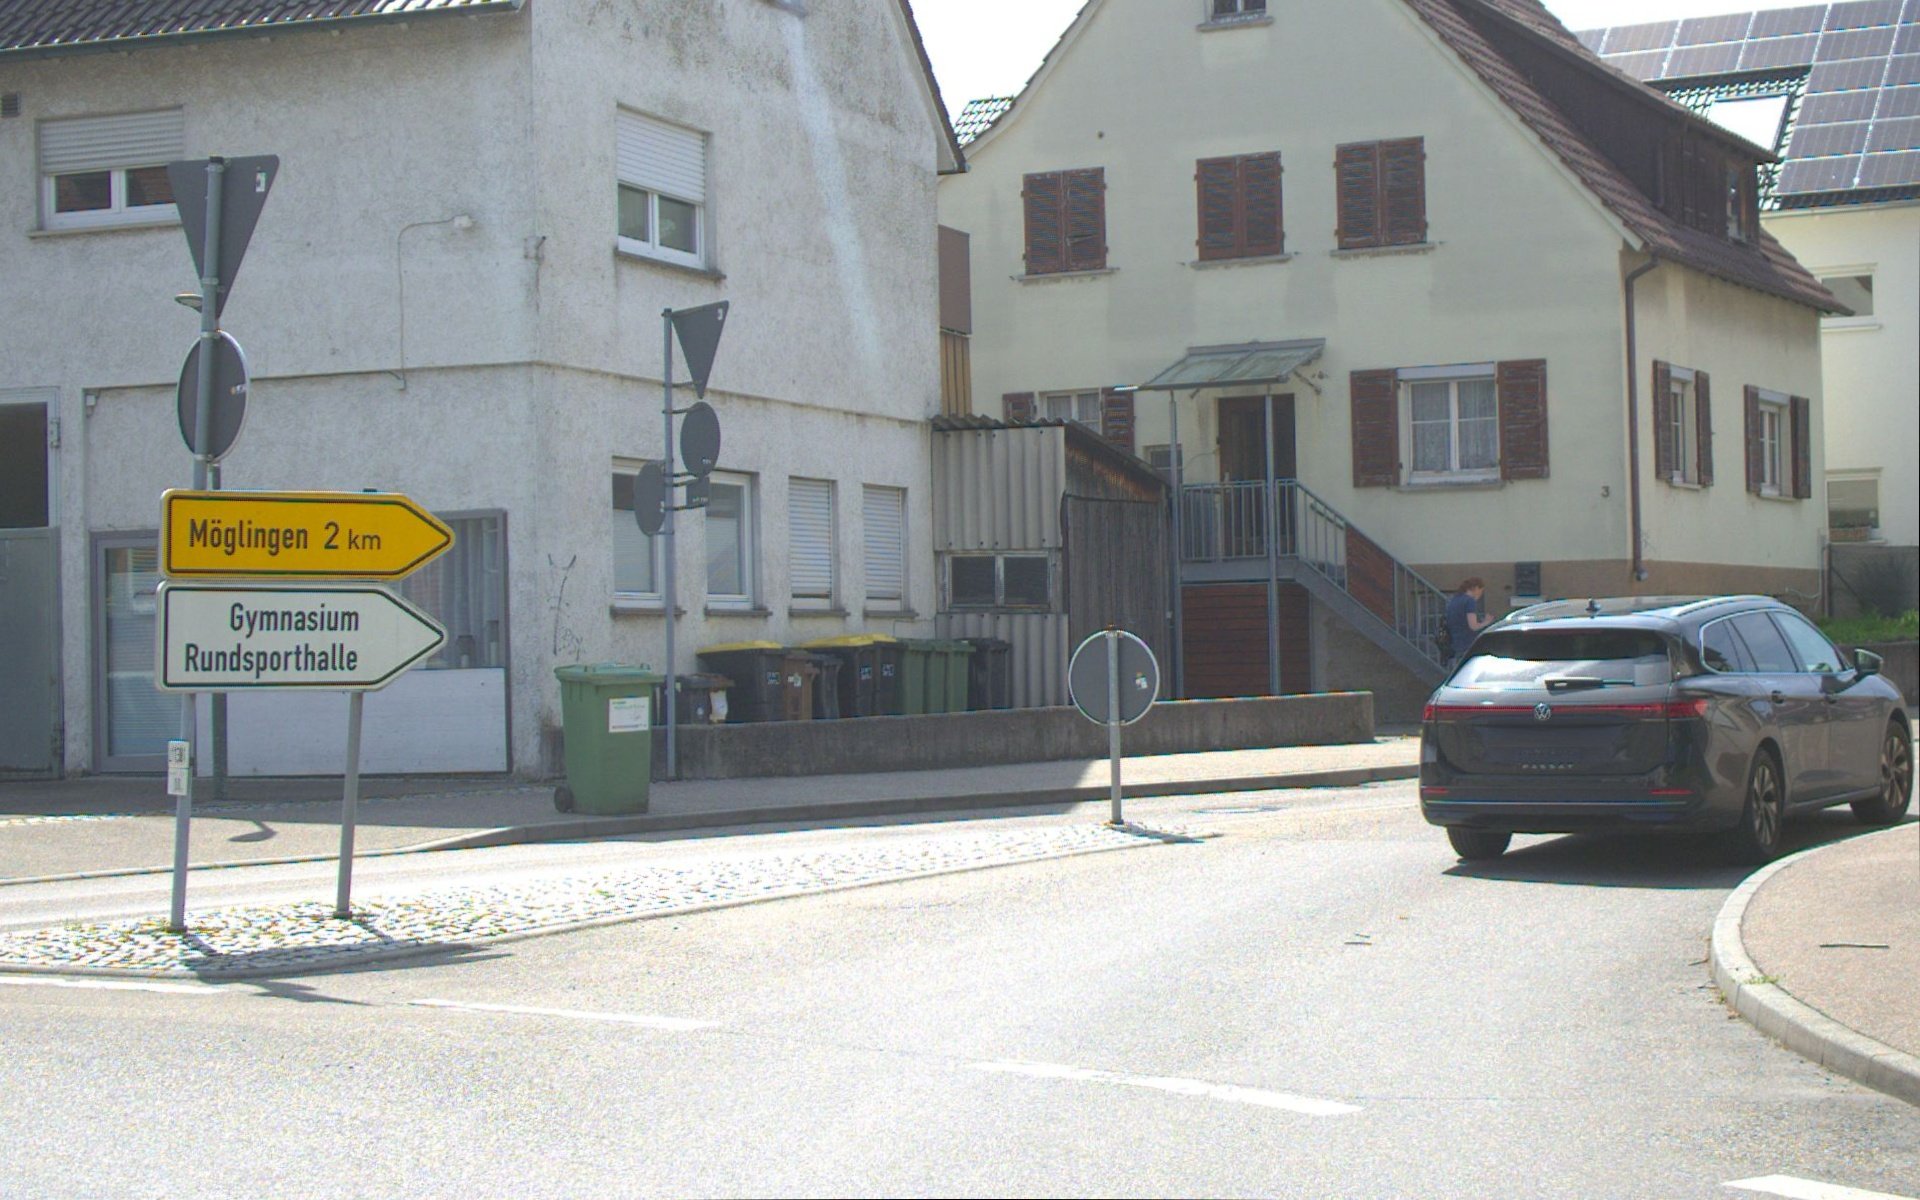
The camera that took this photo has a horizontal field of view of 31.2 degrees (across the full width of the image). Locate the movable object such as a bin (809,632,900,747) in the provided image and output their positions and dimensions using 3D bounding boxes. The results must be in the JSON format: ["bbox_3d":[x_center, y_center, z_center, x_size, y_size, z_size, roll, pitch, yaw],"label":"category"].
[{"bbox_3d":[-1.014,0.861,33.176,0.683,1.078,0.625,-1,0,19],"label":"movable object such as a bin"}]

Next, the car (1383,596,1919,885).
[{"bbox_3d":[4.232,0.735,20.228,1.844,1.415,4.675,-1,1,29],"label":"car"}]

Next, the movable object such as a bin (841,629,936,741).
[{"bbox_3d":[-0.699,0.831,33.750,0.739,1.078,0.660,-1,0,19],"label":"movable object such as a bin"}]

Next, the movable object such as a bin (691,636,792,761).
[{"bbox_3d":[-1.937,0.874,30.553,0.683,1.082,0.644,-1,0,19],"label":"movable object such as a bin"}]

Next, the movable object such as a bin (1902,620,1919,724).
[{"bbox_3d":[10.189,0.724,35.247,0.793,1.054,0.649,-2,0,42],"label":"movable object such as a bin"}]

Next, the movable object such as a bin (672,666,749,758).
[{"bbox_3d":[-2.180,0.975,30.063,0.485,0.778,0.527,-1,0,19],"label":"movable object such as a bin"}]

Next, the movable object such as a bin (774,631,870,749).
[{"bbox_3d":[-1.298,0.845,32.356,0.683,1.078,0.697,-1,0,19],"label":"movable object such as a bin"}]

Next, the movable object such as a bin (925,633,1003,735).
[{"bbox_3d":[0.046,0.868,35.508,0.629,1.030,0.612,-1,0,19],"label":"movable object such as a bin"}]

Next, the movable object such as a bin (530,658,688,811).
[{"bbox_3d":[-2.525,0.951,24.694,0.824,1.041,0.811,-2,0,-34],"label":"movable object such as a bin"}]

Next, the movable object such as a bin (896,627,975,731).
[{"bbox_3d":[-0.247,0.800,34.963,0.628,1.032,0.603,-1,0,19],"label":"movable object such as a bin"}]

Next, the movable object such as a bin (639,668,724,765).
[{"bbox_3d":[-2.390,0.996,29.518,0.485,0.802,0.646,-1,0,21],"label":"movable object such as a bin"}]

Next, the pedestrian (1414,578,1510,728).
[{"bbox_3d":[5.380,0.564,36.858,0.778,1.569,0.626,-1,0,37],"label":"pedestrian"}]

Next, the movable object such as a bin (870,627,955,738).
[{"bbox_3d":[-0.471,0.822,34.369,0.679,1.078,0.583,-1,0,19],"label":"movable object such as a bin"}]

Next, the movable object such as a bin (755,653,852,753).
[{"bbox_3d":[-1.448,0.953,31.911,0.683,0.893,0.697,-1,0,19],"label":"movable object such as a bin"}]

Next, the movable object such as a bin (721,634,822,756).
[{"bbox_3d":[-1.708,0.860,31.231,0.683,1.082,0.697,-1,0,19],"label":"movable object such as a bin"}]
